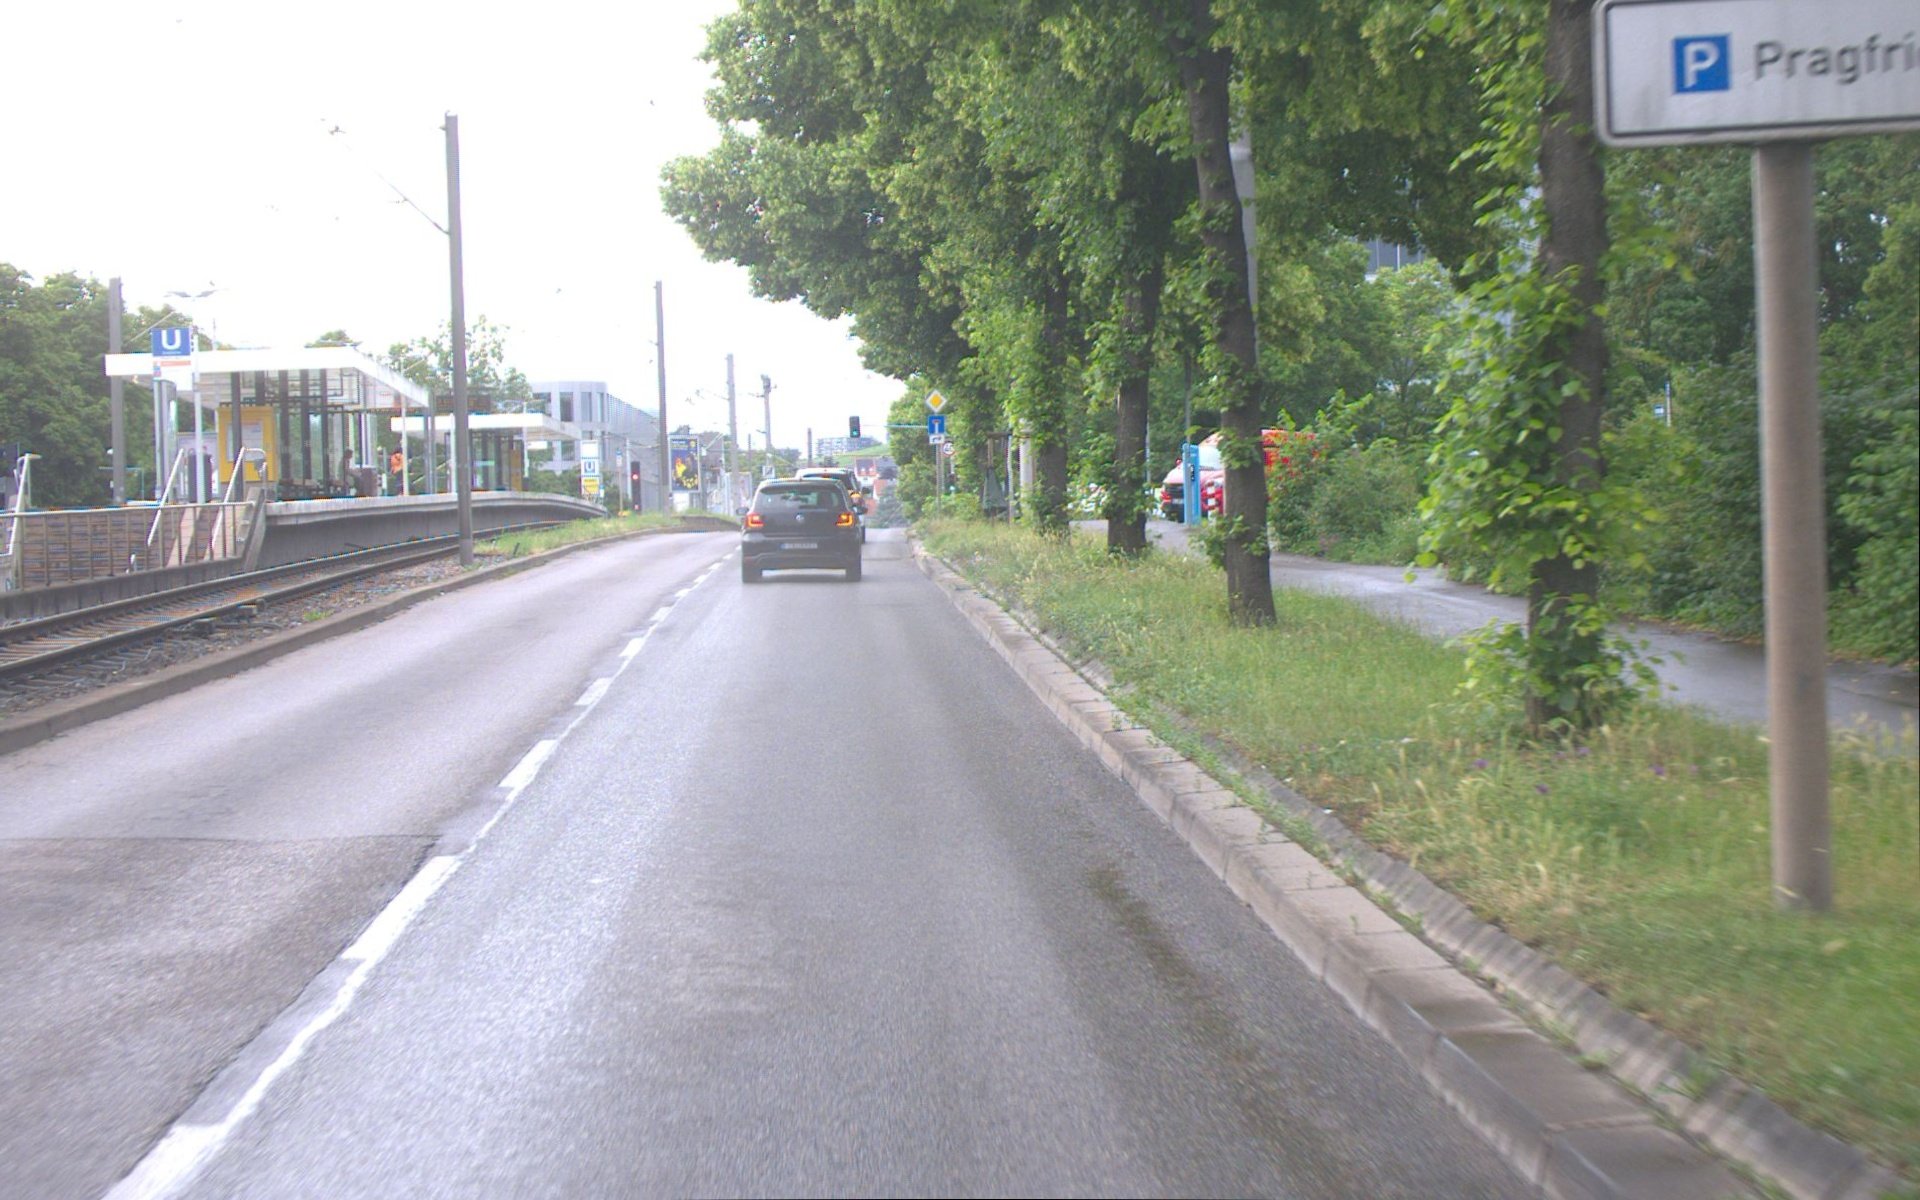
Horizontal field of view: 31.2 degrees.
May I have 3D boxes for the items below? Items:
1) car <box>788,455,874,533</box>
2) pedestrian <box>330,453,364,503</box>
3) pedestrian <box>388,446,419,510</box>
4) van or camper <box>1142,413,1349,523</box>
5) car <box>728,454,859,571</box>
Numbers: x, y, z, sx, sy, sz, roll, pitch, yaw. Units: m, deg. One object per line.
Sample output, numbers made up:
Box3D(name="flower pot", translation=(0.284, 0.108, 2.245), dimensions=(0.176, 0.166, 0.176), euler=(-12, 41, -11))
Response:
Box3D(name="car", translation=(-2.655, -2.211, 71.039), dimensions=(1.687, 1.512, 4.001), euler=(-1, 2, -2))
Box3D(name="pedestrian", translation=(-14.959, -2.973, 83.864), dimensions=(0.710, 1.221, 0.619), euler=(-1, 2, -1))
Box3D(name="pedestrian", translation=(-16.533, -3.628, 102.185), dimensions=(0.743, 1.903, 0.842), euler=(-1, 3, -22))
Box3D(name="van or camper", translation=(6.904, -3.146, 82.617), dimensions=(2.040, 2.397, 5.378), euler=(4, 3, 41))
Box3D(name="car", translation=(-2.314, -1.265, 48.497), dimensions=(1.726, 1.535, 4.001), euler=(-1, 2, -1))
